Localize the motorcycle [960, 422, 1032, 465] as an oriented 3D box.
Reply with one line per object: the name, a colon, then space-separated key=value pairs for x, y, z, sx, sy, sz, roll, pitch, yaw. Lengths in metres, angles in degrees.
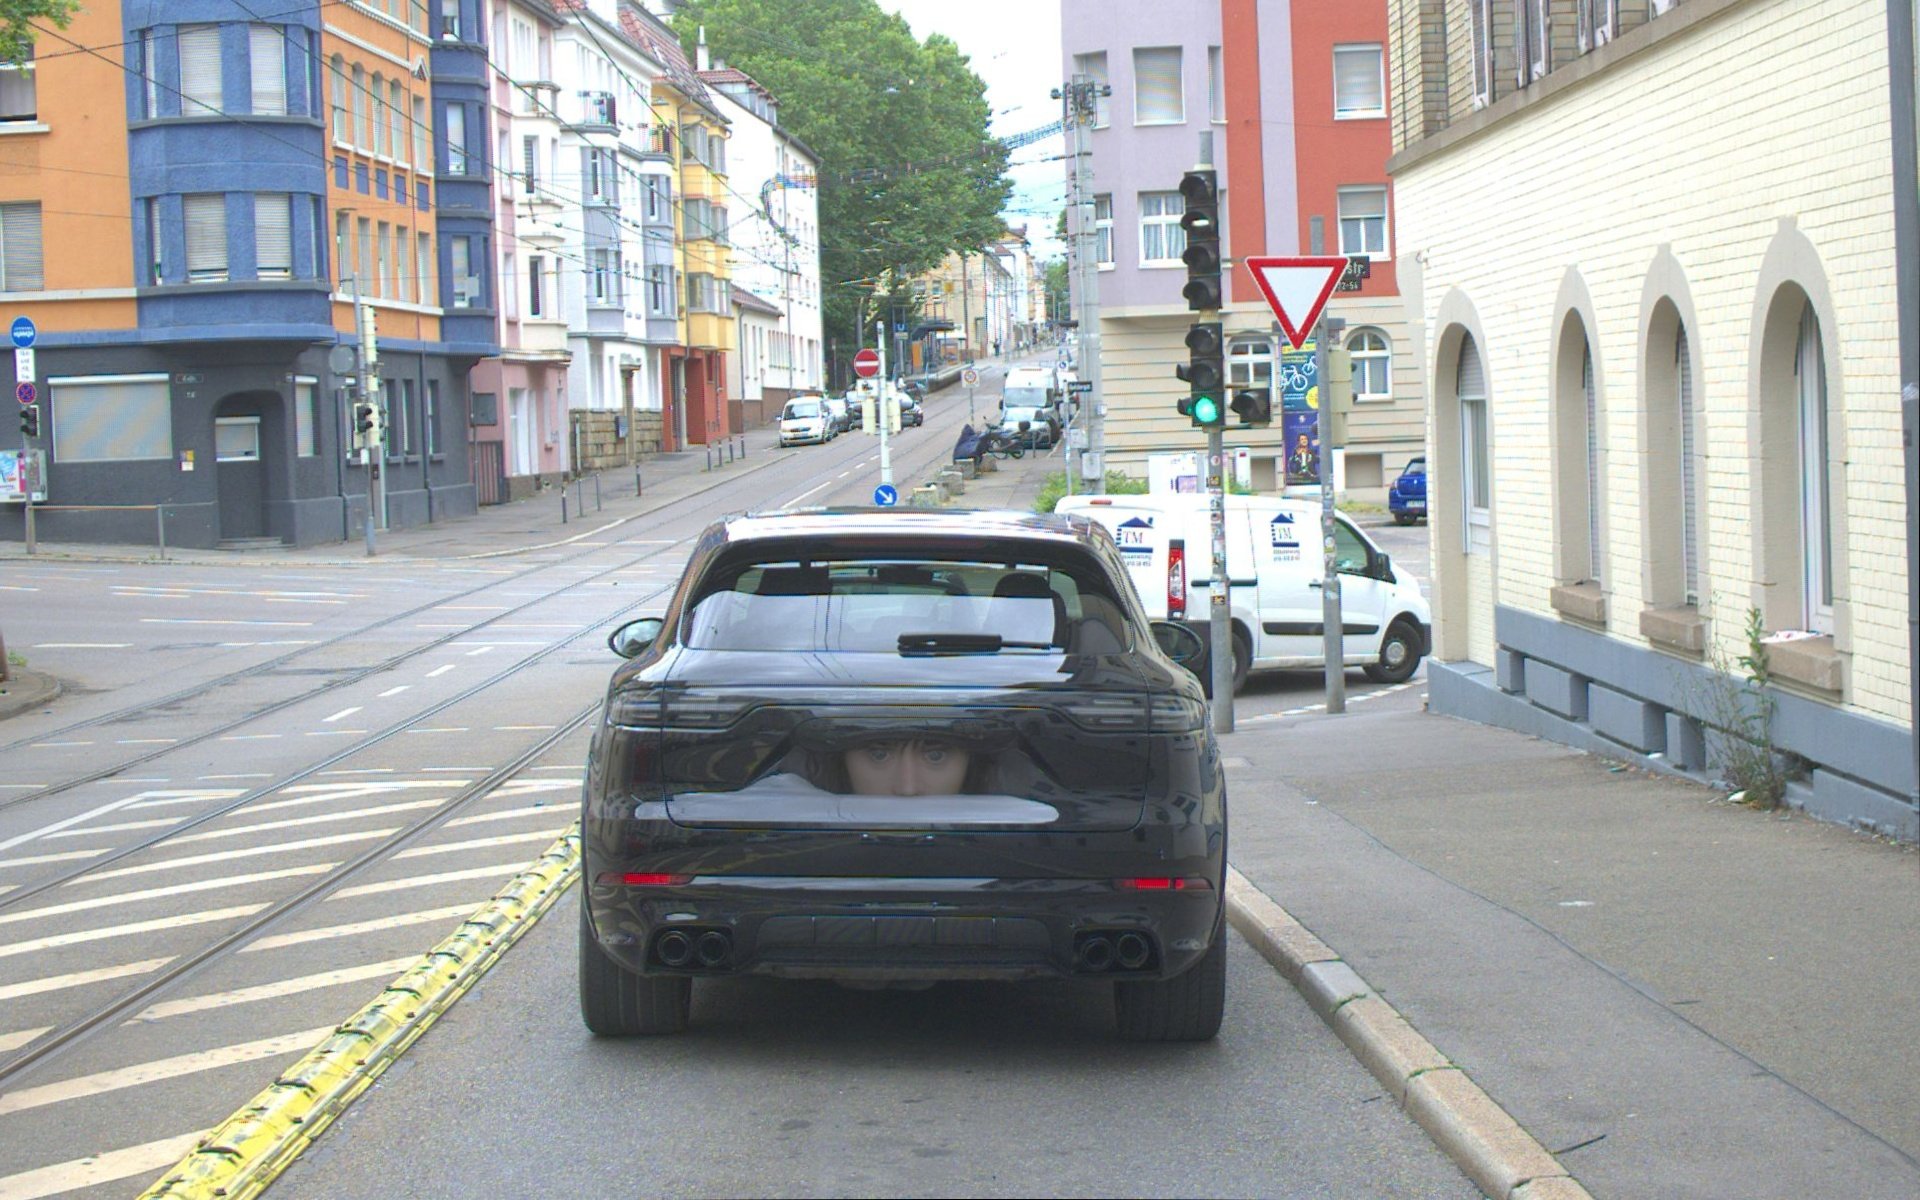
motorcycle: x=1.138 y=-4.916 z=108.146 sx=2.176 sy=1.322 sz=0.700 roll=0 pitch=3 yaw=-6

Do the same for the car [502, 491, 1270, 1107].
car: x=-0.031 y=0.484 z=11.833 sx=2.024 sy=1.636 sz=4.355 roll=2 pitch=2 yaw=7

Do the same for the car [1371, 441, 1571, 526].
car: x=10.670 y=-2.458 z=71.660 sx=4.130 sy=1.529 sz=1.918 roll=-5 pitch=7 yaw=-41

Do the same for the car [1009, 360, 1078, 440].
car: x=3.095 y=-7.394 z=126.911 sx=2.267 sy=2.880 sz=4.769 roll=1 pitch=4 yaw=4

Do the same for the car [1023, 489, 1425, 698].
car: x=2.690 y=-0.135 z=34.183 sx=1.869 sy=1.877 sz=4.276 roll=3 pitch=4 yaw=39

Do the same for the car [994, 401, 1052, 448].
car: x=2.249 y=-6.211 z=121.350 sx=1.840 sy=1.563 sz=3.819 roll=1 pitch=4 yaw=4

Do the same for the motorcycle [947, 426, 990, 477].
motorcycle: x=0.234 y=-4.224 z=97.666 sx=0.859 sy=1.321 sz=2.185 roll=-6 pitch=4 yaw=-5

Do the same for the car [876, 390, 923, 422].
car: x=-2.612 y=-8.351 z=147.980 sx=1.686 sy=1.322 sz=3.662 roll=1 pitch=4 yaw=4

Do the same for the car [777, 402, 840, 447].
car: x=-5.867 y=-6.818 z=133.410 sx=1.994 sy=1.686 sz=4.000 roll=1 pitch=4 yaw=4

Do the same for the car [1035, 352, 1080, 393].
car: x=5.345 y=-12.402 z=187.883 sx=2.267 sy=2.176 sz=4.769 roll=1 pitch=4 yaw=4
